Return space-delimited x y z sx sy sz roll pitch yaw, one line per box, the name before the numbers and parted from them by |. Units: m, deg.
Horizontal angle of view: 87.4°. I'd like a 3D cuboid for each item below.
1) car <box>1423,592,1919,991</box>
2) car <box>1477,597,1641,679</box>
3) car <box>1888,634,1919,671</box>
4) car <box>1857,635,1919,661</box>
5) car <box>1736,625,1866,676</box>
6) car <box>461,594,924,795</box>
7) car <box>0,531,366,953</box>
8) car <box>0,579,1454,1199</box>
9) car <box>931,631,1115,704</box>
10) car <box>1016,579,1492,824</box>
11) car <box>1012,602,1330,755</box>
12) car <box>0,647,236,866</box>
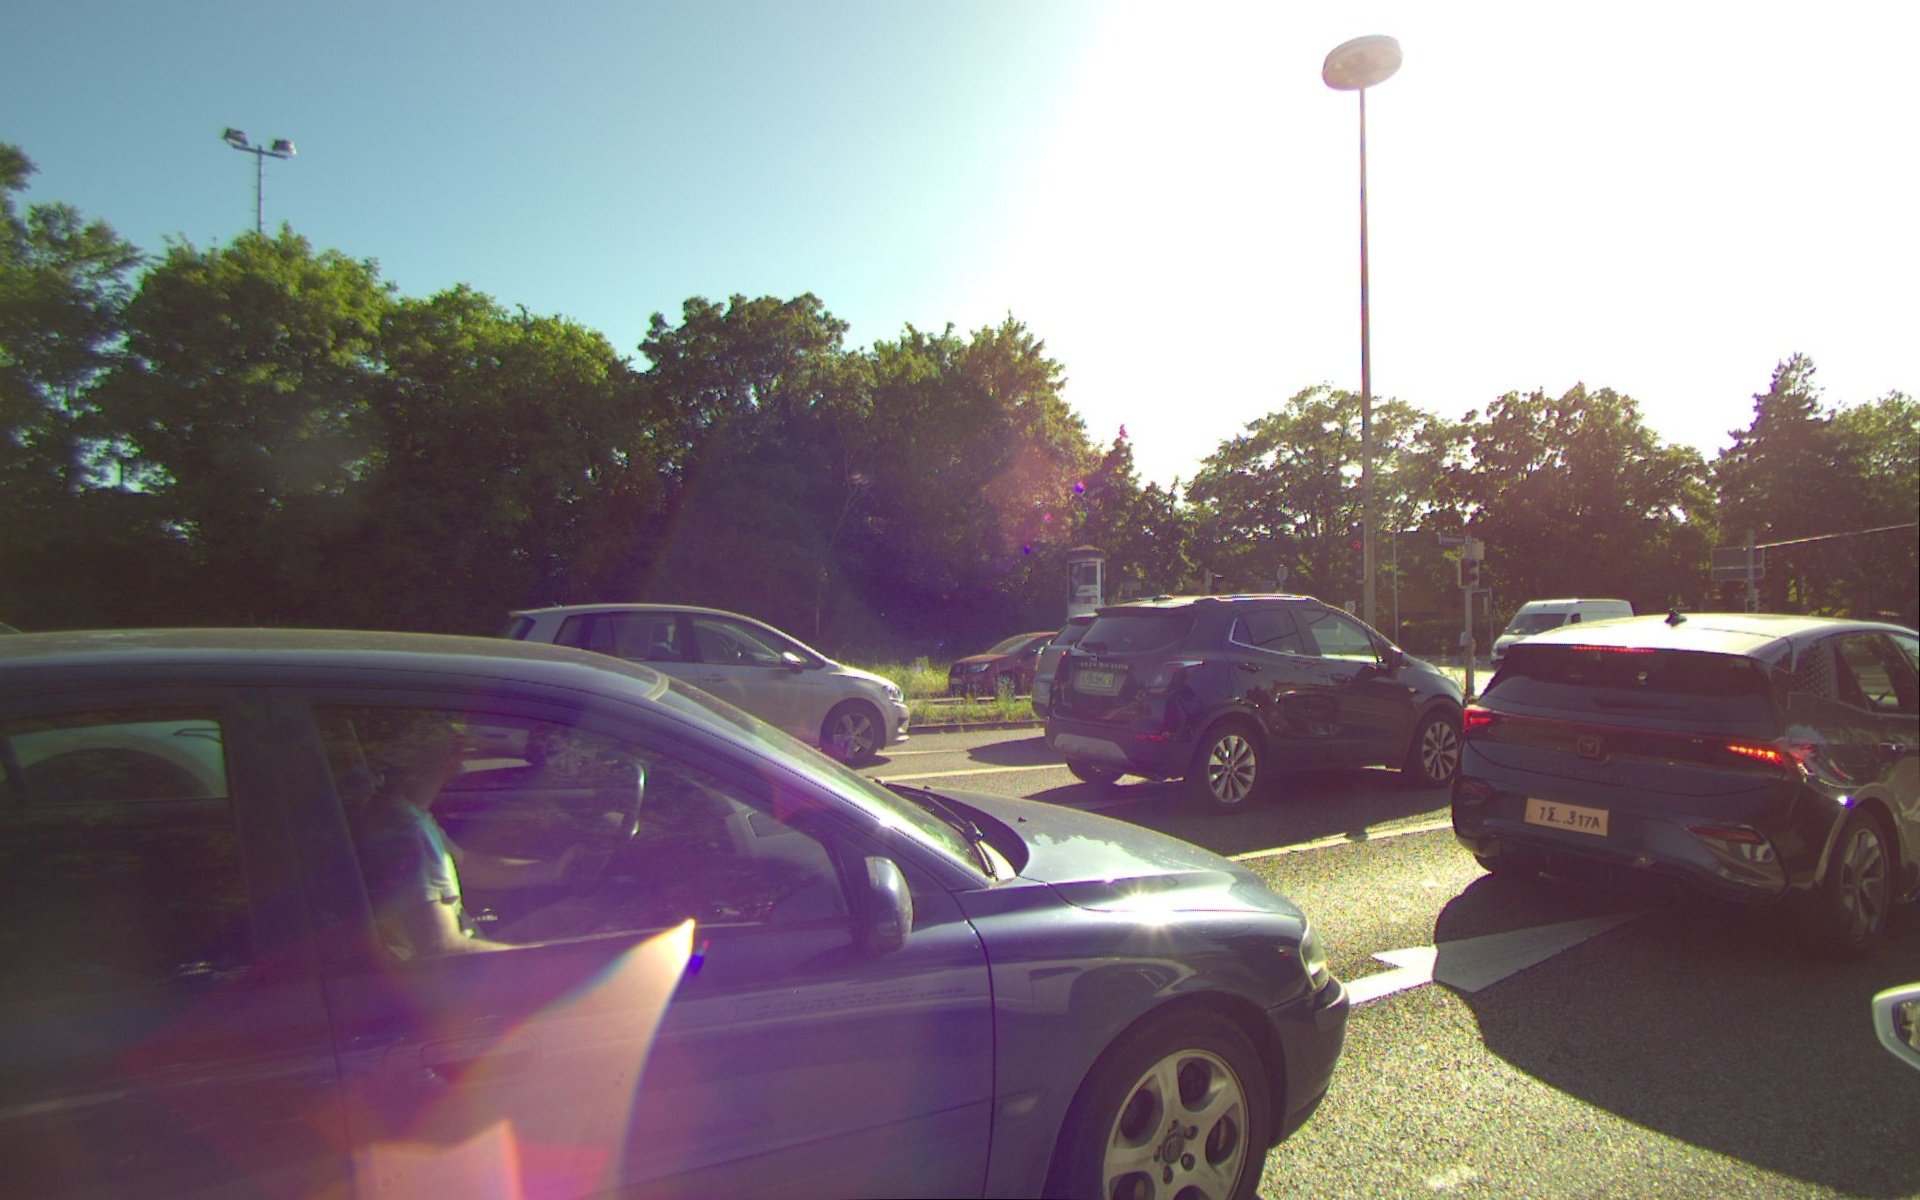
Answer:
car | 4.745 0.824 5.823 4.158 1.601 1.676 2 -1 -30
car | 19.948 1.242 33.356 5.934 2.525 2.090 1 -2 -30
car | 40.417 2.145 41.634 4.116 1.482 1.768 1 -2 -30
car | 45.486 2.339 49.106 3.593 1.251 1.383 1 -2 -30
car | 28.718 1.696 34.279 4.561 1.622 1.984 1 -2 -30
car | -2.608 0.832 10.013 4.156 1.632 1.822 1 -2 -30
car | -5.245 0.594 4.517 4.373 1.732 1.984 1 -2 -30
car | -1.091 0.722 2.209 4.404 1.471 1.767 2 0 -30
car | 1.453 1.472 22.814 3.956 1.529 1.678 1 -2 -30
car | 2.625 0.766 8.802 3.953 1.711 1.796 1 -2 -30
car | 2.816 0.949 13.189 3.956 1.724 1.820 1 -2 -32
car | -7.908 1.071 6.951 4.499 1.448 1.822 1 -2 -30
